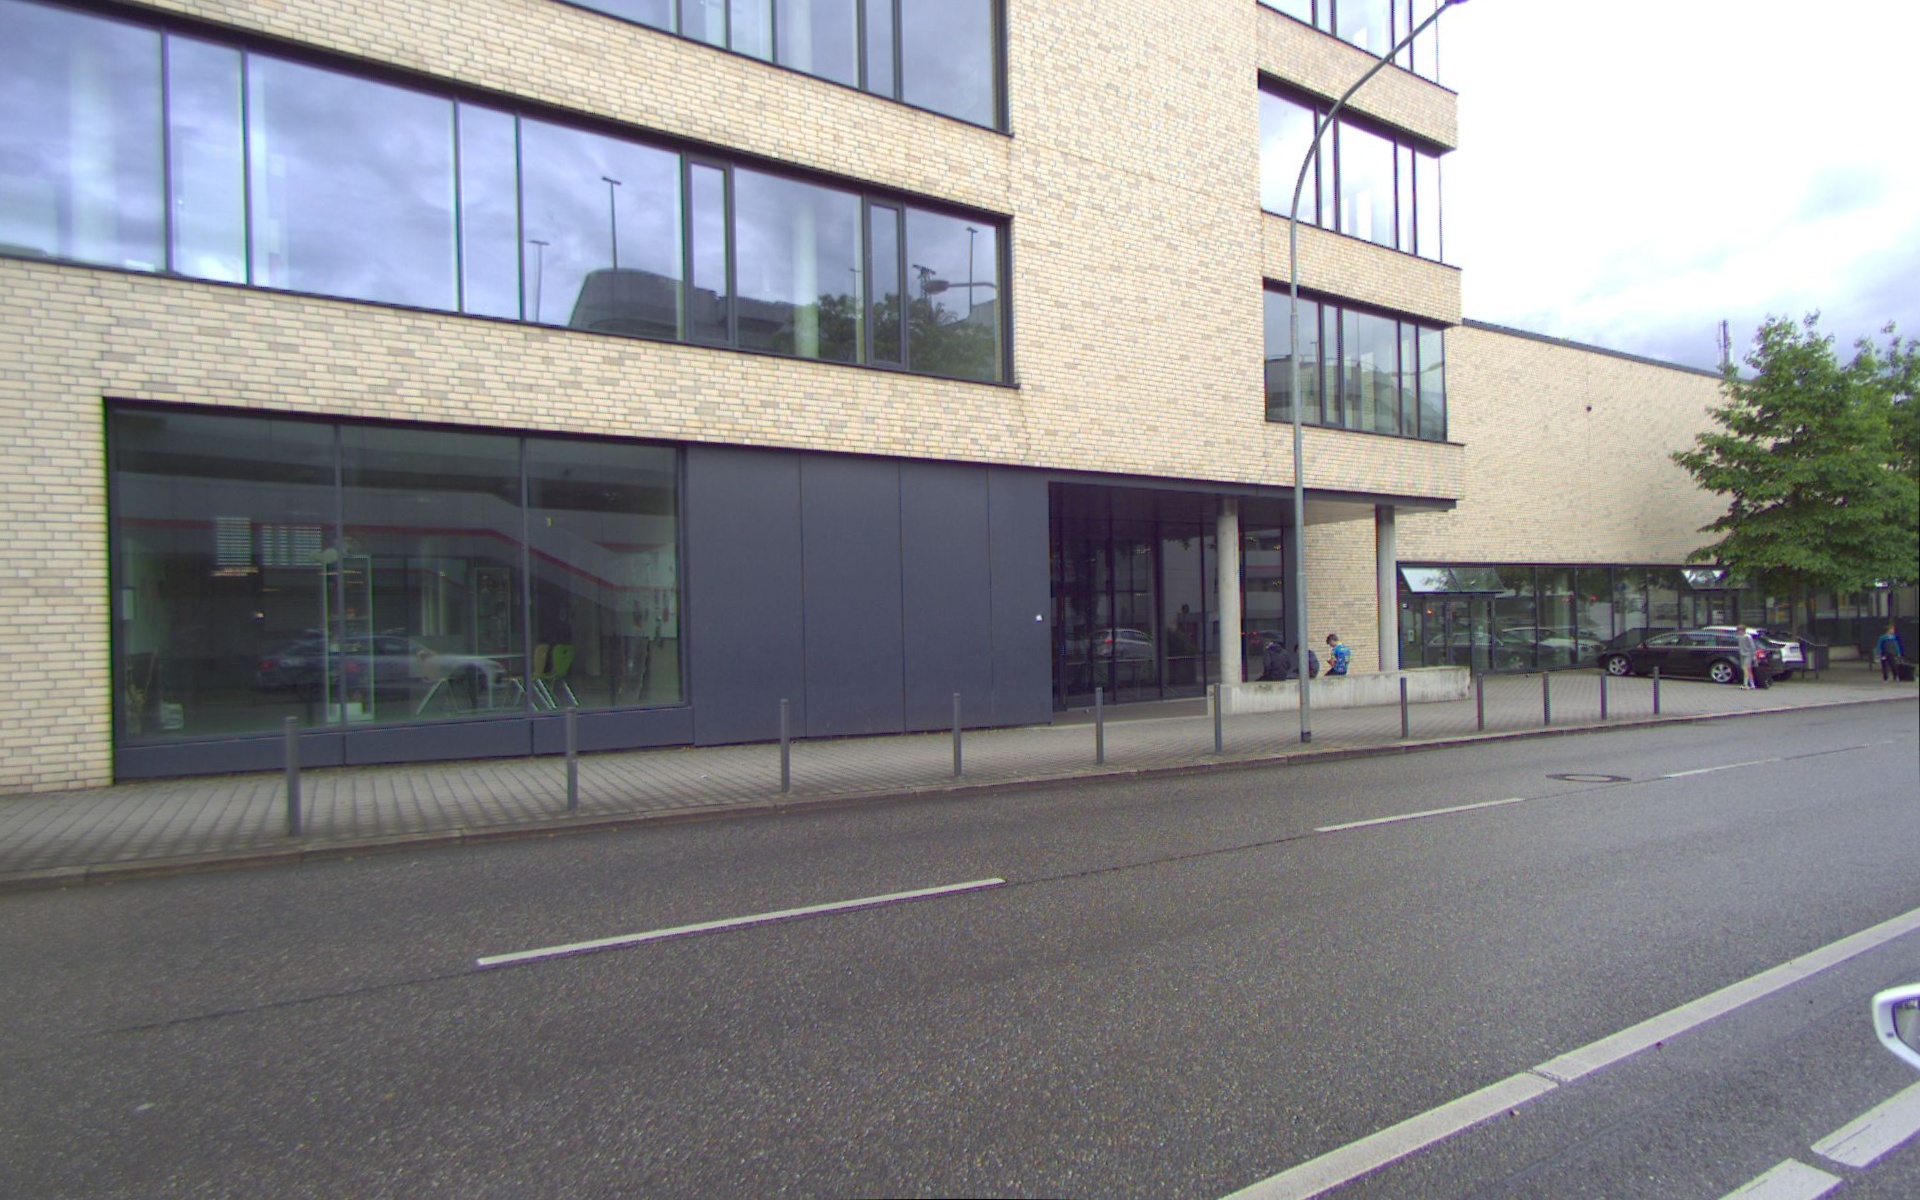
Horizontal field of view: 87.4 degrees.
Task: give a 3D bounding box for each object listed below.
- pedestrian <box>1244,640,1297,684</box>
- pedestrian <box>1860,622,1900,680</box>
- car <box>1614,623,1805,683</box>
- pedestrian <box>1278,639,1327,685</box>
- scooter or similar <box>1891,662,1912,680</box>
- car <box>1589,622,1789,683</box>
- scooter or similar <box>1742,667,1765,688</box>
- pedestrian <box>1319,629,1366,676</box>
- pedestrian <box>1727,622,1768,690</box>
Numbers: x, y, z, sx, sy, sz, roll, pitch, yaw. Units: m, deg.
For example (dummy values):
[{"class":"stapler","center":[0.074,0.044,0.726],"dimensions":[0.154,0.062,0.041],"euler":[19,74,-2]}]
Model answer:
[{"class":"pedestrian","center":[5.913,1.172,19.120],"dimensions":[0.751,0.796,0.595],"euler":[2,0,-30]},{"class":"pedestrian","center":[28.778,1.588,31.419],"dimensions":[0.746,1.748,0.685],"euler":[4,-1,-31]},{"class":"car","center":[23.255,1.580,31.332],"dimensions":[1.980,1.595,4.388],"euler":[-1,1,-35]},{"class":"pedestrian","center":[6.657,1.198,19.532],"dimensions":[0.719,0.856,0.583],"euler":[2,-1,-30]},{"class":"scooter or similar","center":[29.503,2.229,31.469],"dimensions":[0.493,0.543,0.358],"euler":[3,-1,-31]},{"class":"car","center":[21.573,1.486,29.884],"dimensions":[1.981,1.608,4.437],"euler":[1,-1,-36]},{"class":"scooter or similar","center":[20.887,2.033,26.441],"dimensions":[0.609,0.507,0.278],"euler":[2,0,-32]},{"class":"pedestrian","center":[7.680,1.054,20.168],"dimensions":[0.519,0.897,0.677],"euler":[2,0,-33]},{"class":"pedestrian","center":[20.557,1.457,26.218],"dimensions":[0.473,1.720,0.672],"euler":[1,0,-30]}]
